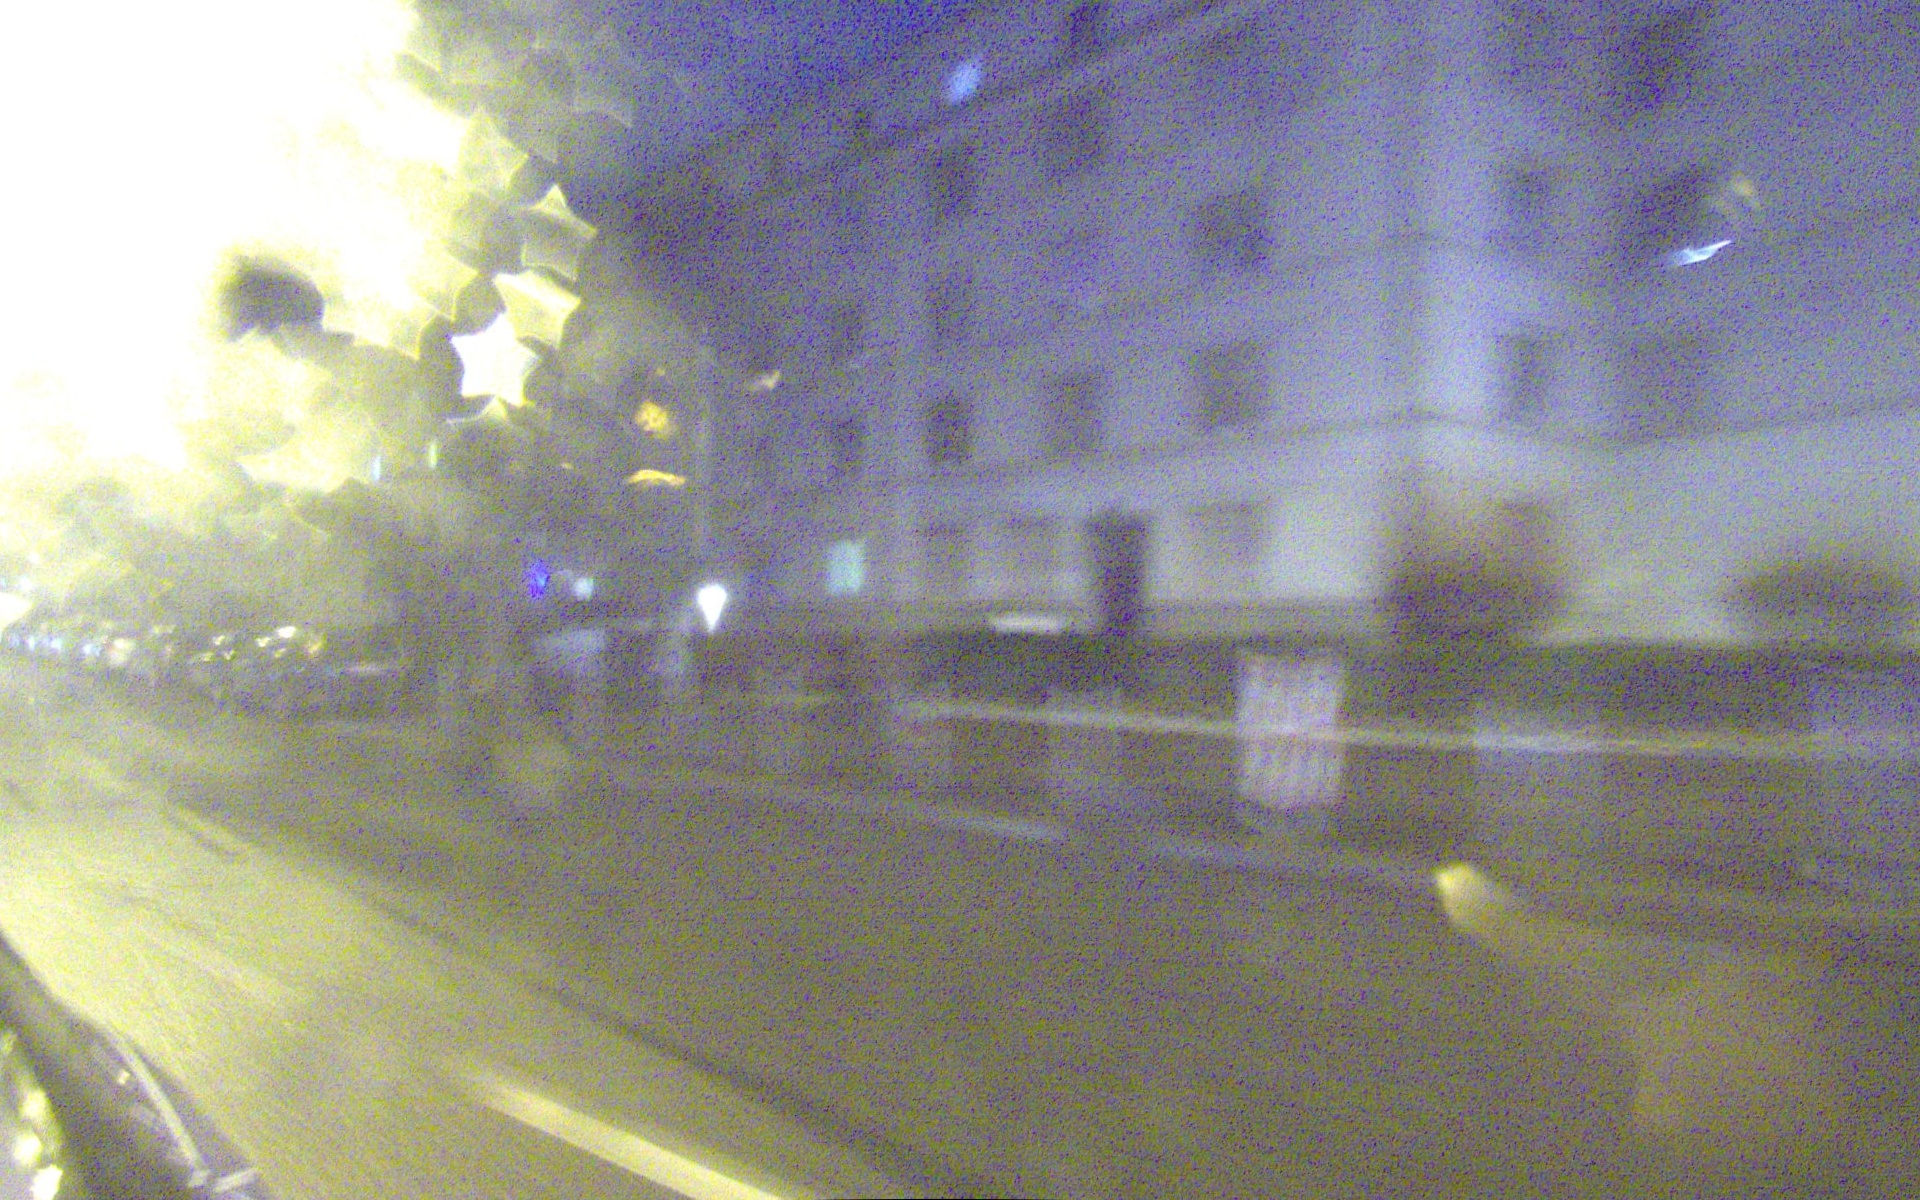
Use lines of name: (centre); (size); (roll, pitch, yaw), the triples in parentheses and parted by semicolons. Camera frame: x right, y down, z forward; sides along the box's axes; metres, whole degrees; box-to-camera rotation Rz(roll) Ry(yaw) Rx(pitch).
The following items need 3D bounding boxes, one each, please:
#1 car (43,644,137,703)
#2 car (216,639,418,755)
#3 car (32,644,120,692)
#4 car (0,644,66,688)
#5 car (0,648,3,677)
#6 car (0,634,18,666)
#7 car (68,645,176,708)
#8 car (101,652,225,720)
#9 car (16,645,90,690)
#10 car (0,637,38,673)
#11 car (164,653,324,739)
car: (-26.524, 2.207, 30.814); (4.257, 1.617, 1.581); (-1, -5, 42)
car: (-10.482, 1.471, 16.365); (4.379, 1.576, 1.581); (-1, -5, 42)
car: (-29.623, 2.272, 33.881); (4.002, 1.442, 1.582); (-1, -4, 40)
car: (-37.177, 2.620, 40.552); (3.371, 1.632, 1.459); (-1, -4, 40)
car: (-55.057, 3.442, 56.716); (4.390, 1.551, 1.648); (-1, -5, 42)
car: (-50.988, 2.579, 53.120); (4.388, 1.551, 1.648); (-1, -4, 40)
car: (-22.617, 2.019, 27.276); (4.274, 1.498, 1.581); (-1, -5, 42)
car: (-18.394, 1.916, 23.301); (4.066, 1.384, 1.581); (-3, -3, 42)
car: (-33.538, 2.470, 37.379); (4.935, 1.468, 1.618); (-1, -5, 44)
car: (-47.082, 2.670, 49.776); (4.384, 1.610, 1.730); (-1, -4, 37)
car: (-14.043, 1.808, 19.755); (4.353, 1.384, 1.581); (-1, -5, 42)
